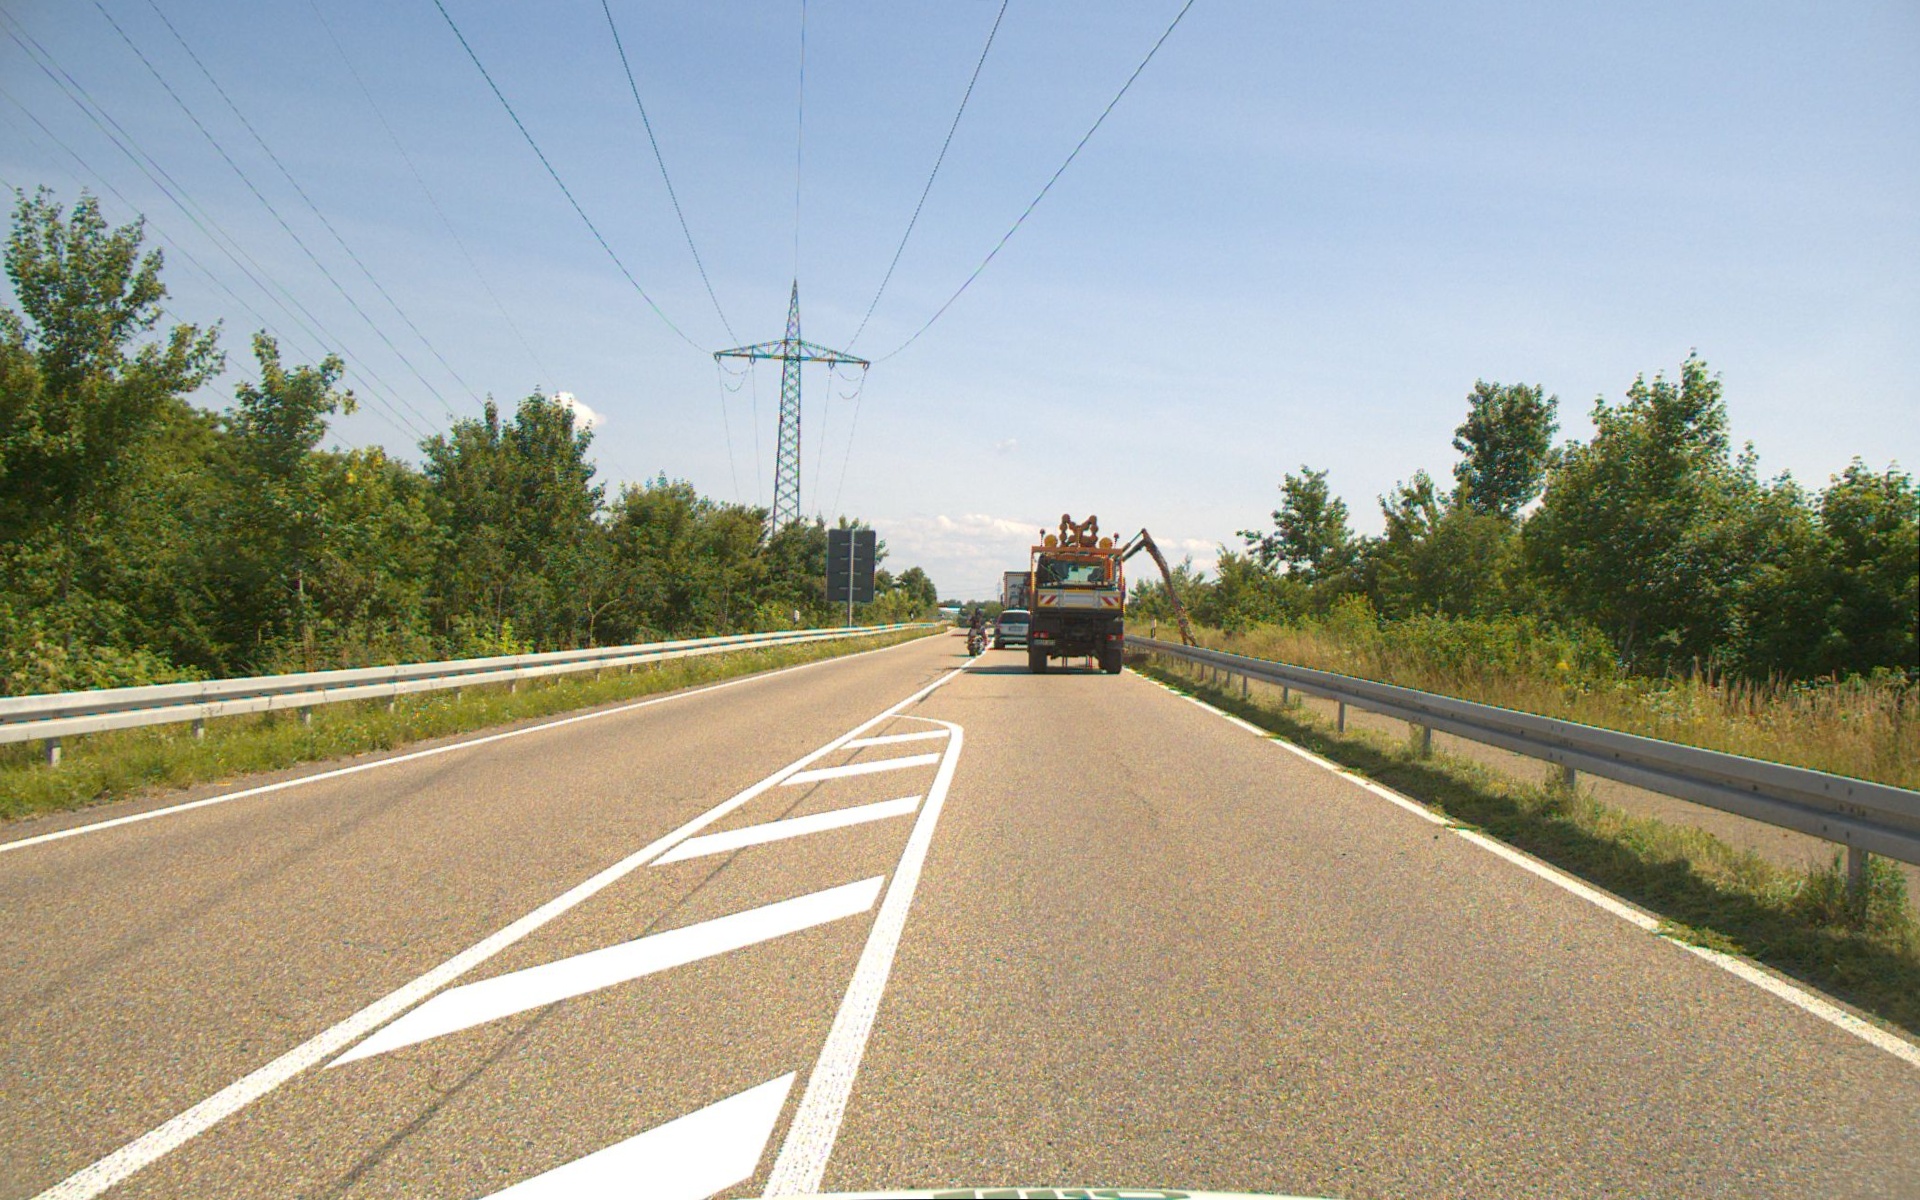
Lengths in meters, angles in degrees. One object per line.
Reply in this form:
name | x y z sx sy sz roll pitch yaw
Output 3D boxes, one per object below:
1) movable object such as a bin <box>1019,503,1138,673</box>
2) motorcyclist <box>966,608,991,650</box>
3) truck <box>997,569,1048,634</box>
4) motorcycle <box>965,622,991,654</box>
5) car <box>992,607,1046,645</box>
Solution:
movable object such as a bin | 2.984 -0.277 43.105 2.696 3.907 9.448 1 0 3
motorcyclist | 0.618 0.940 54.405 0.764 1.349 0.813 1 0 2
truck | 4.114 0.139 108.621 3.174 4.049 9.446 1 -1 2
motorcycle | 0.603 1.237 54.383 0.764 0.993 2.362 1 0 2
car | 2.433 1.035 66.866 1.786 1.477 4.003 1 0 7
